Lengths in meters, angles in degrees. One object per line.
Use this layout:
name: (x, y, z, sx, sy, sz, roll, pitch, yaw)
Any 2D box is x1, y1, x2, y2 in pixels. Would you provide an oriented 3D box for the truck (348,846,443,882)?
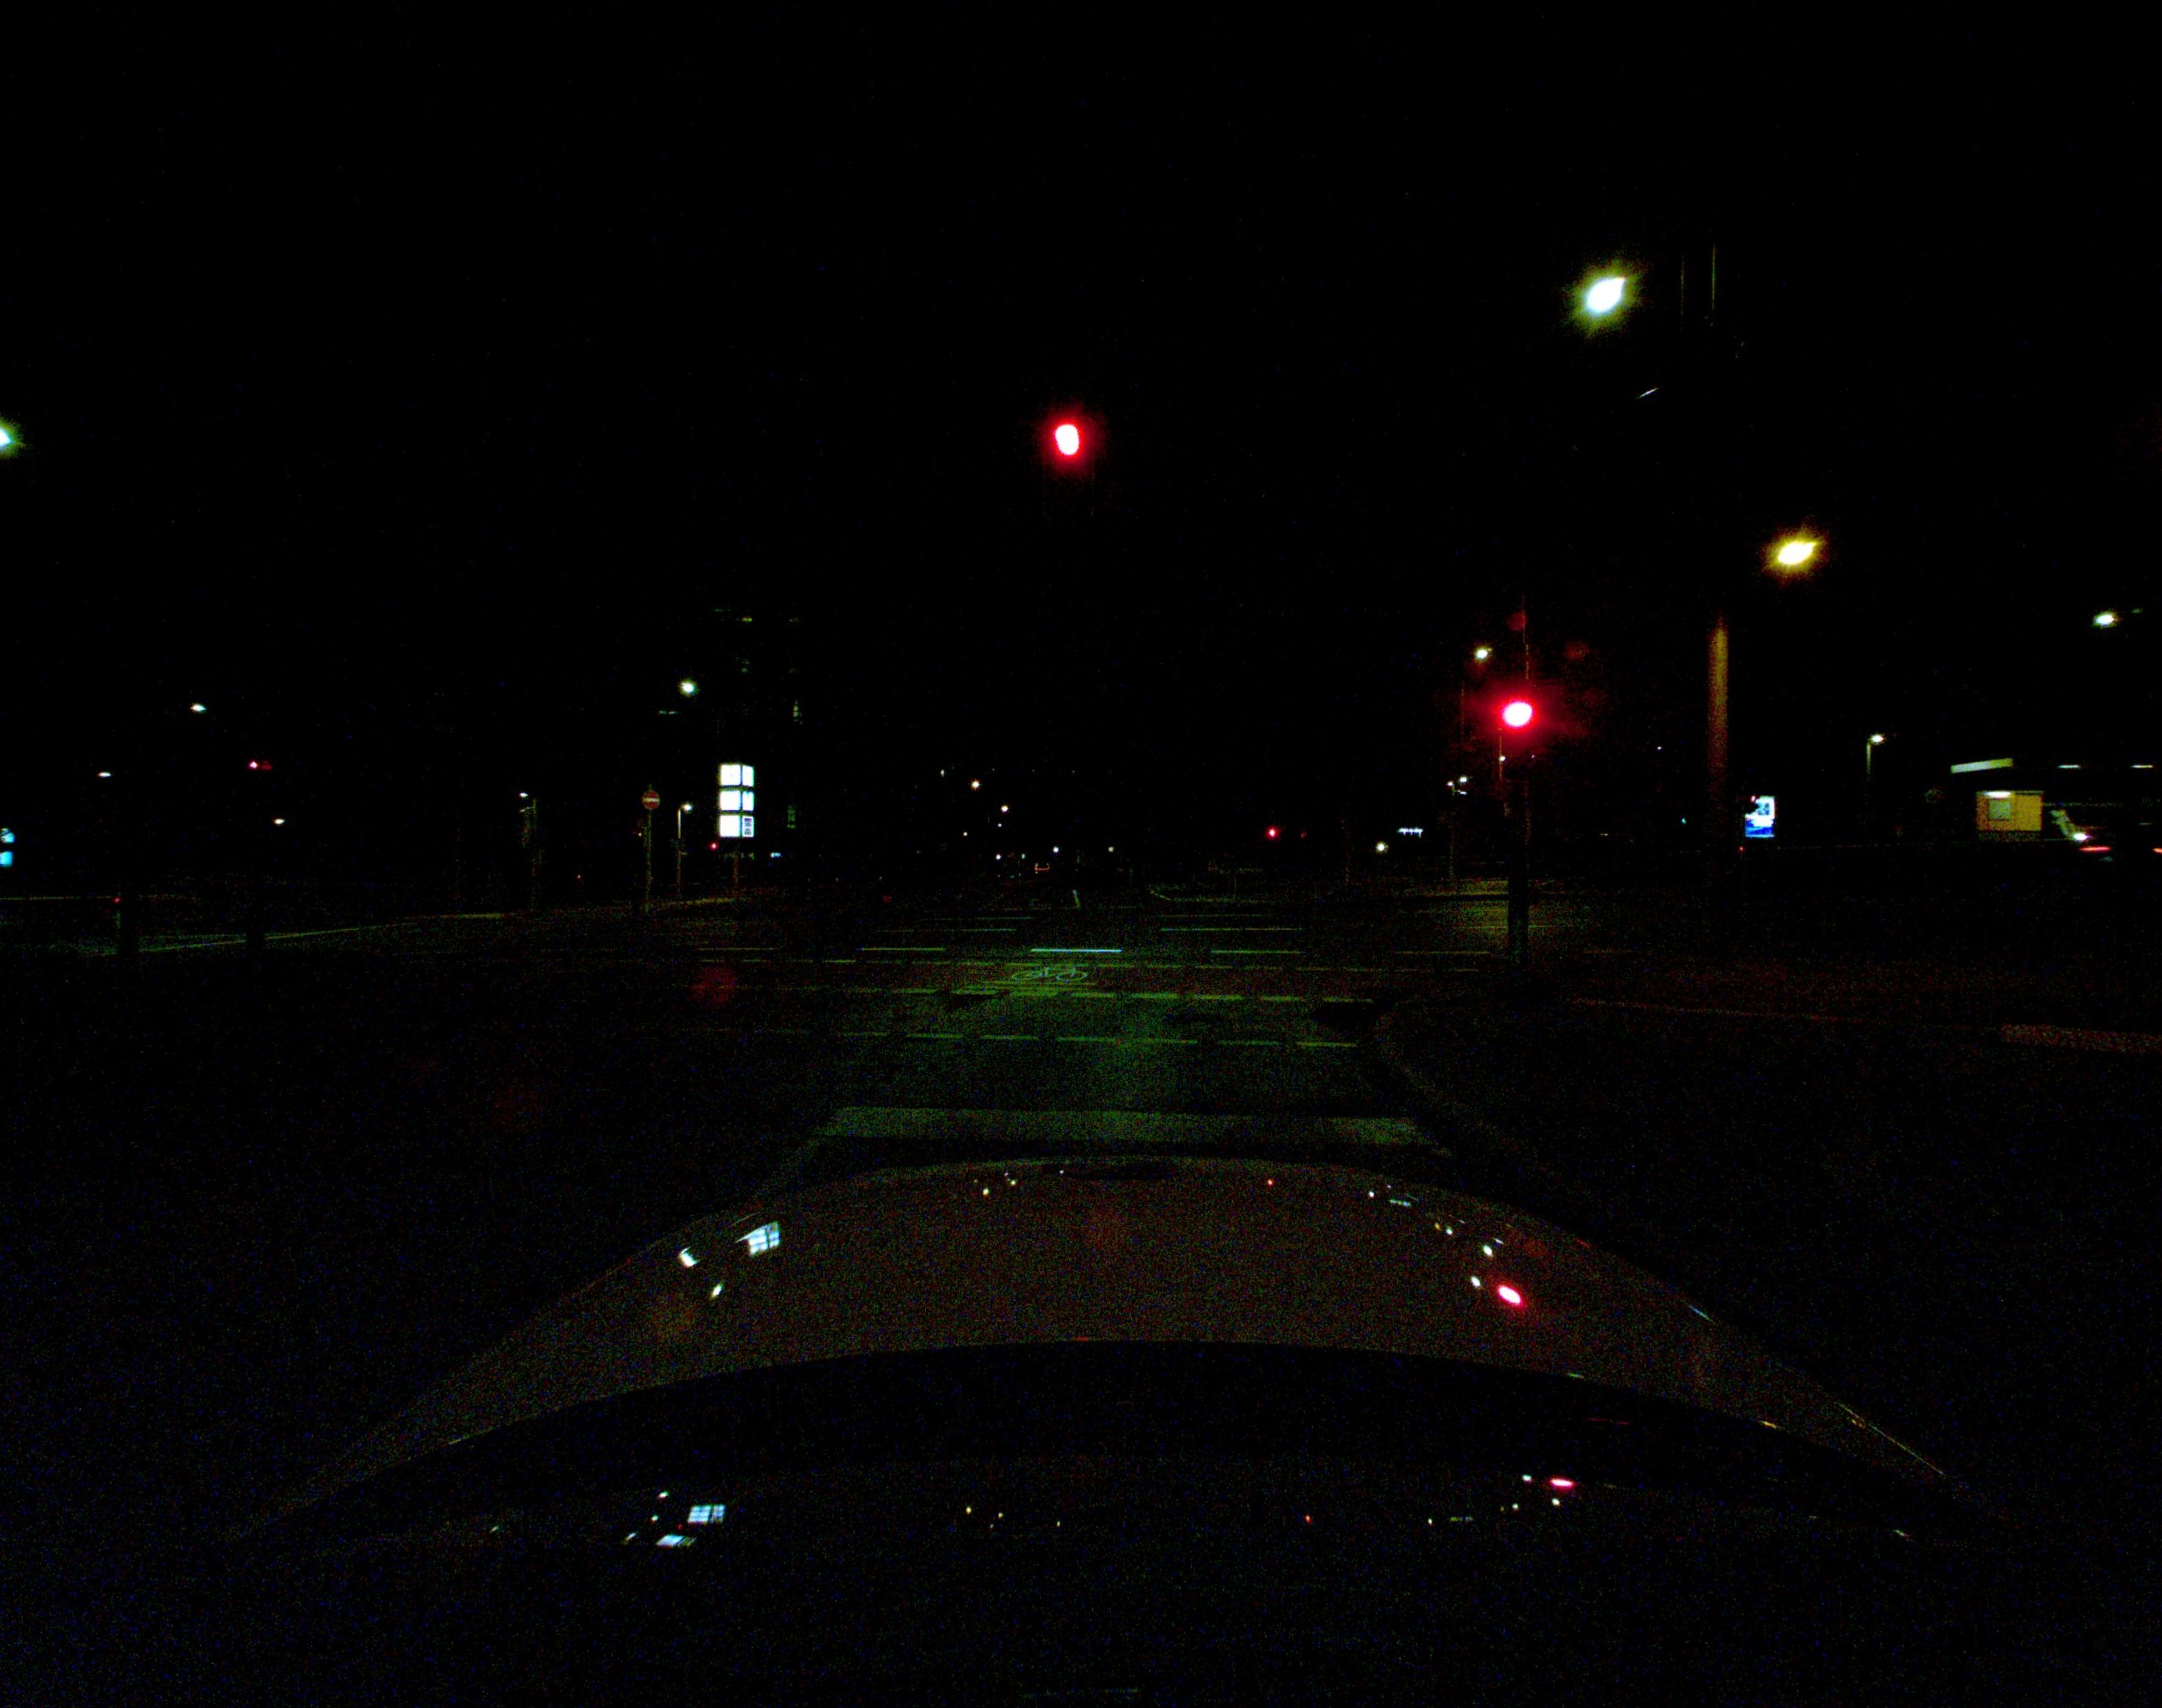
truck: (-59.935, 0.883, 71.307, 5.873, 3.088, 2.915, 0, -1, 3)

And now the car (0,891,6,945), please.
car: (-32.375, 1.868, 22.212, 4.163, 1.502, 1.823, -2, 0, 8)

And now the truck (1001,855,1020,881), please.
truck: (-10.402, 1.964, 119.726, 2.580, 3.707, 5.723, 0, -1, -7)

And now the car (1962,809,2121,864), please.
car: (40.463, -0.685, 34.397, 3.966, 2.014, 2.003, -4, -1, 6)

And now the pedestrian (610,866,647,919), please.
pedestrian: (-14.042, 1.180, 25.293, 0.667, 1.634, 0.862, 0, -1, -3)

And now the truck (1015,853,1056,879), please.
truck: (-8.551, 2.232, 151.642, 4.835, 4.547, 12.591, 0, -1, -17)

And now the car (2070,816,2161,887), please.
car: (28.091, -0.122, 20.298, 4.425, 1.659, 1.867, -1, 1, 4)

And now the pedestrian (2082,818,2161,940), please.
pedestrian: (15.849, 0.355, 12.107, 0.752, 1.745, 0.834, -4, -2, 1)
